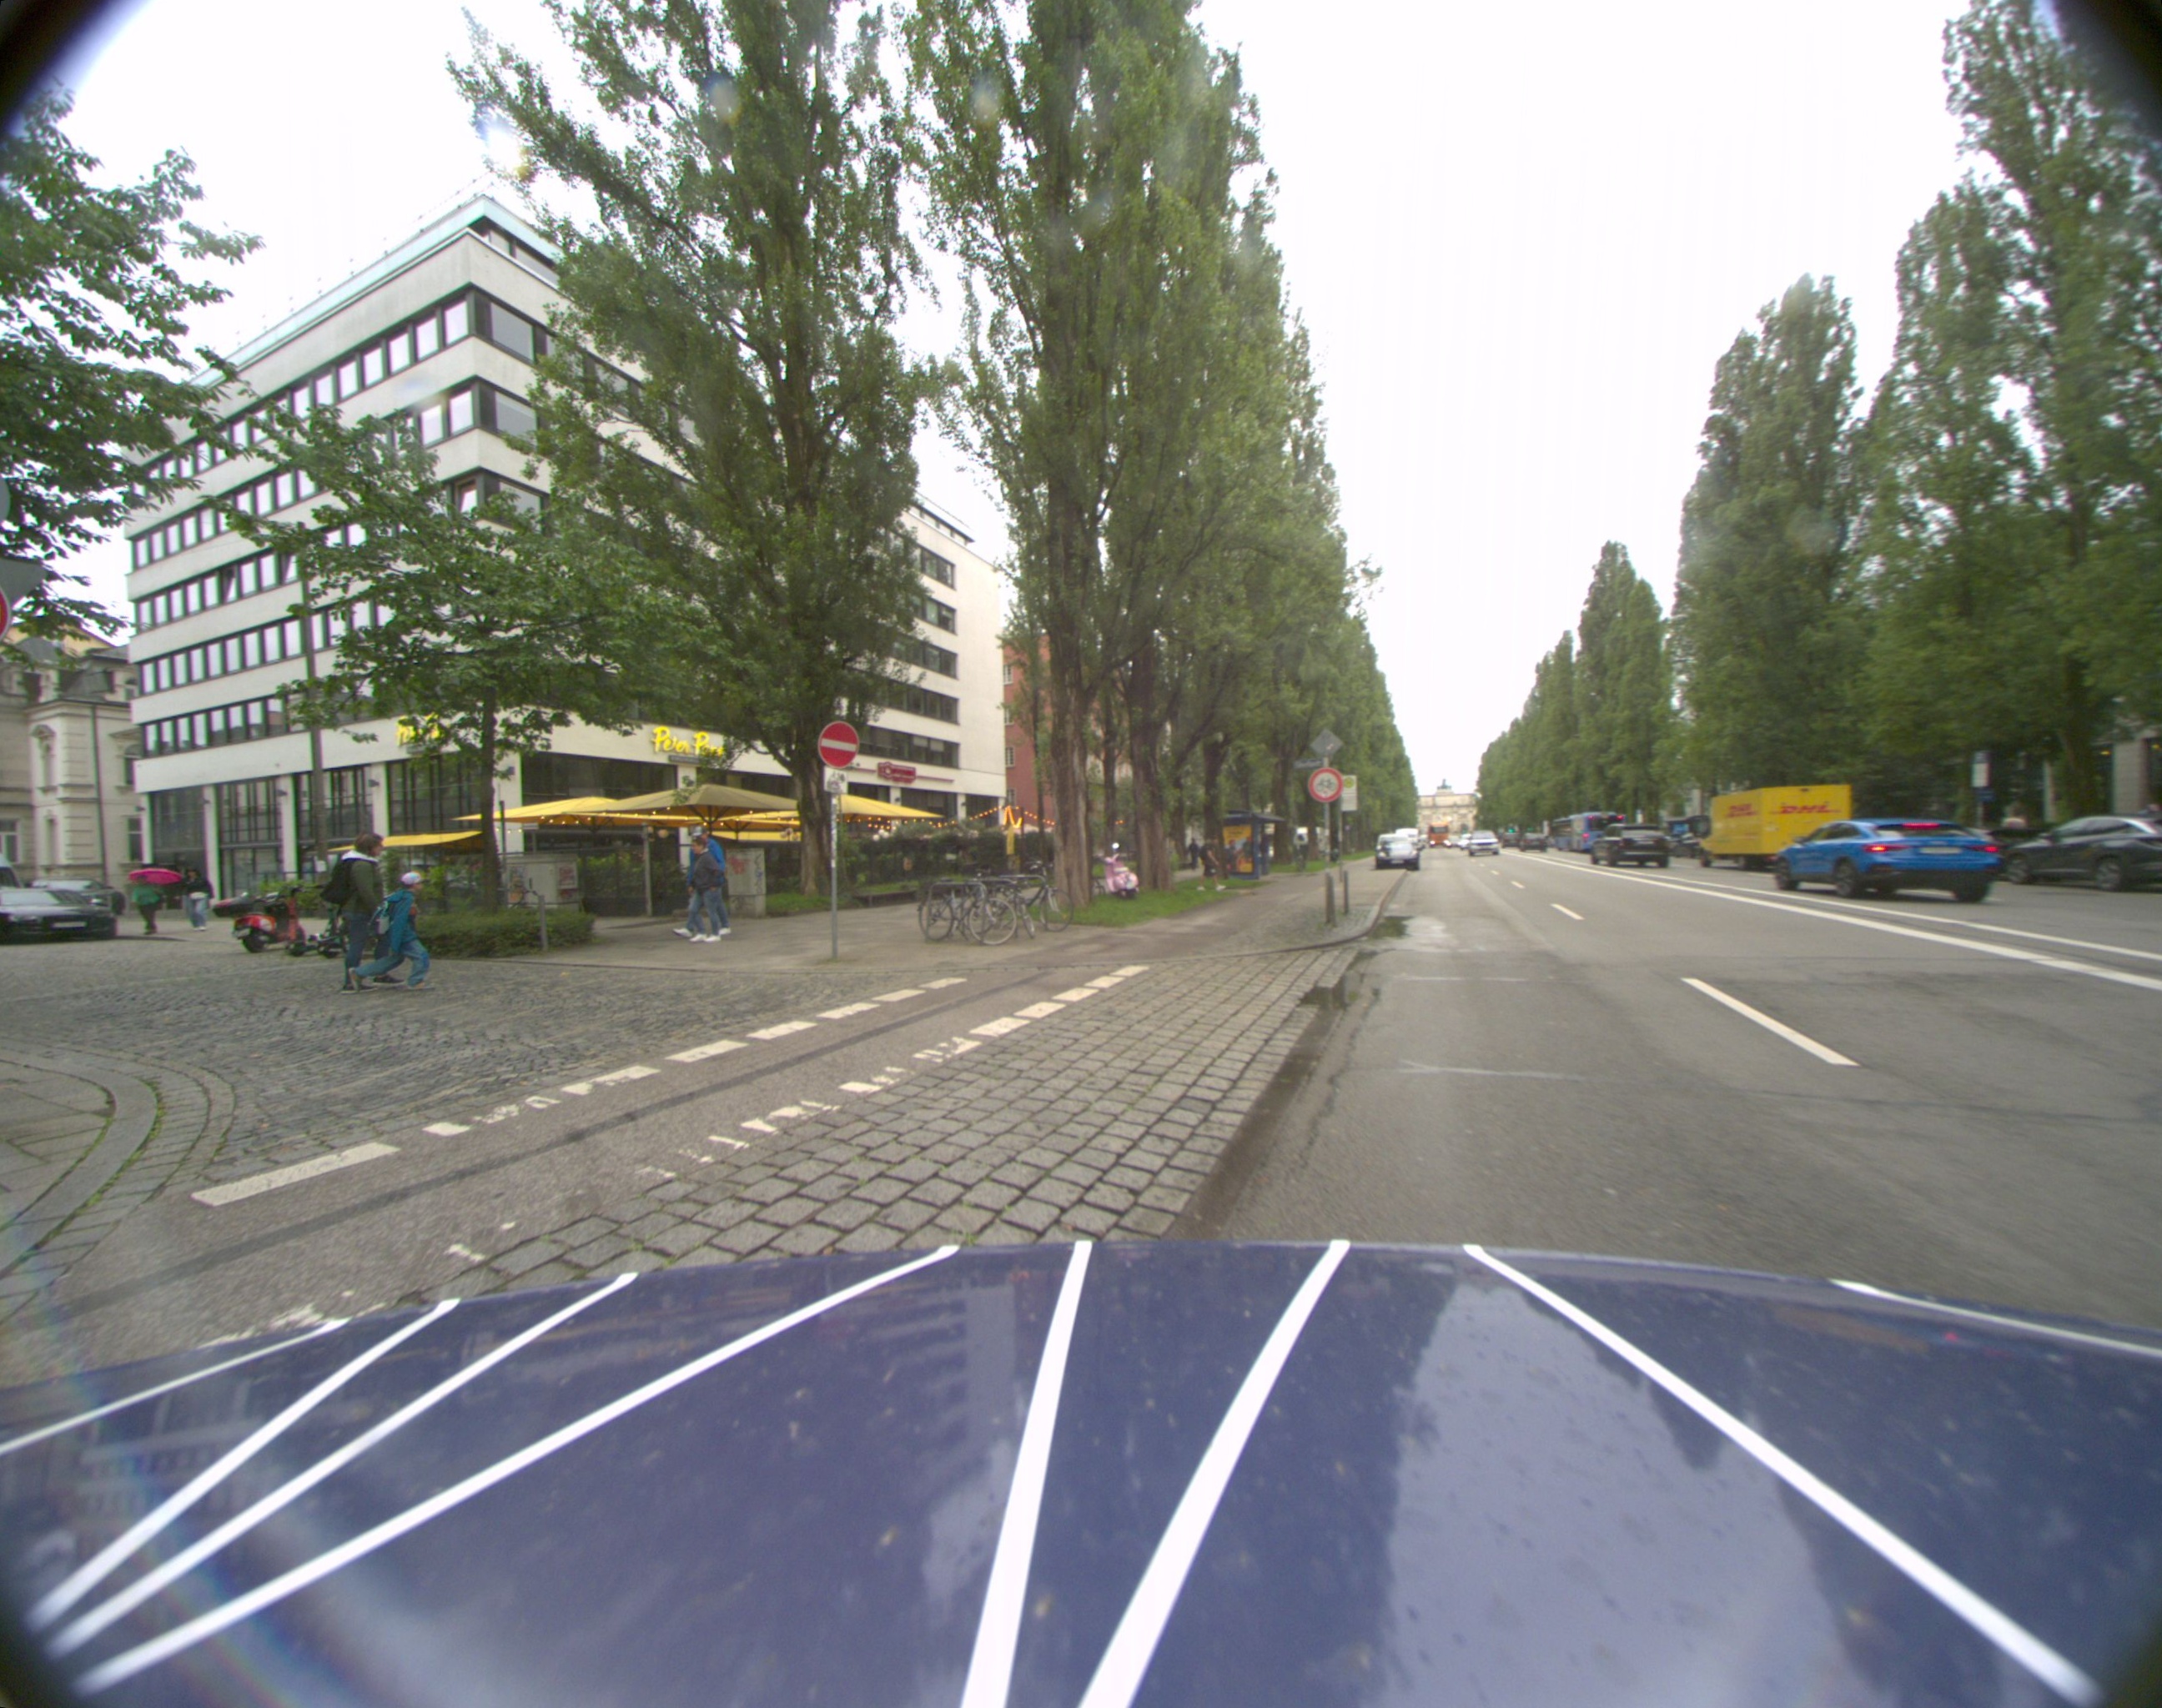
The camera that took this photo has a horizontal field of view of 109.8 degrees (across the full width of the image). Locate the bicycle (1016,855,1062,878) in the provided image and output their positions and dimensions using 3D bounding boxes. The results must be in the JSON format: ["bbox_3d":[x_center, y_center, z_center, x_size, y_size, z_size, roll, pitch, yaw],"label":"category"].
[{"bbox_3d":[-1.781,0.515,31.958,1.798,0.907,0.621,-1,1,22],"label":"bicycle"}]

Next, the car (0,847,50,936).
[{"bbox_3d":[-32.920,1.109,22.088,5.835,2.476,2.069,-1,0,22],"label":"car"}]

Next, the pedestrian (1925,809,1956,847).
[{"bbox_3d":[38.943,-1.166,34.425,0.707,1.704,0.733,-1,2,25],"label":"pedestrian"}]

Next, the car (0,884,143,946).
[{"bbox_3d":[-26.362,1.501,19.388,4.106,1.322,2.003,-1,1,24],"label":"car"}]

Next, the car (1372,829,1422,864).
[{"bbox_3d":[15.328,-0.388,36.717,2.007,1.572,4.006,-1,1,25],"label":"car"}]

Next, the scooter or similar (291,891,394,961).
[{"bbox_3d":[-13.370,1.277,13.792,0.327,1.137,1.253,-1,1,25],"label":"scooter or similar"}]

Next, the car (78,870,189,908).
[{"bbox_3d":[-42.589,1.572,34.153,4.160,1.524,1.916,-1,1,22],"label":"car"}]

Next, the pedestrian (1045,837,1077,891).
[{"bbox_3d":[-0.629,0.306,24.108,0.734,1.683,0.648,-1,2,28],"label":"pedestrian"}]

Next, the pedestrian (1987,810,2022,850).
[{"bbox_3d":[40.151,-1.048,33.046,0.707,1.704,0.733,-1,2,25],"label":"pedestrian"}]

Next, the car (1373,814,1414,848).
[{"bbox_3d":[17.840,-1.245,43.319,2.008,1.747,4.007,-2,-1,23],"label":"car"}]

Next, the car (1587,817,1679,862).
[{"bbox_3d":[23.077,-0.638,32.002,1.995,1.739,5.071,1,2,23],"label":"car"}]

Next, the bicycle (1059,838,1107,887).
[{"bbox_3d":[0.064,0.193,19.515,0.582,1.182,1.618,-1,1,24],"label":"bicycle"}]

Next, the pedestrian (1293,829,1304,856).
[{"bbox_3d":[13.909,-0.754,48.575,0.516,1.683,0.487,-1,2,28],"label":"pedestrian"}]

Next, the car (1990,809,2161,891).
[{"bbox_3d":[22.351,-0.140,16.445,1.789,1.591,4.243,-1,1,25],"label":"car"}]

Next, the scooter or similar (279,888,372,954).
[{"bbox_3d":[-14.593,1.285,14.692,1.251,1.173,0.390,-2,2,-8],"label":"scooter or similar"}]

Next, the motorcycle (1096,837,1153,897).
[{"bbox_3d":[0.990,0.261,17.947,0.630,1.190,1.986,-2,6,-19],"label":"motorcycle"}]

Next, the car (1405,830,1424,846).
[{"bbox_3d":[39.909,-1.946,91.042,2.008,1.747,4.005,-1,1,23],"label":"car"}]

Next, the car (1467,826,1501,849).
[{"bbox_3d":[30.181,-1.275,56.989,2.008,1.571,4.006,-3,1,25],"label":"car"}]

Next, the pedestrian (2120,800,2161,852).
[{"bbox_3d":[35.299,-0.926,25.216,0.707,1.704,0.733,-1,2,25],"label":"pedestrian"}]

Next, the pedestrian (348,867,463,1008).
[{"bbox_3d":[-7.385,0.866,8.306,0.816,1.411,0.772,-1,2,40],"label":"pedestrian"}]

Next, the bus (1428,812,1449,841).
[{"bbox_3d":[54.043,-4.056,115.029,2.643,4.088,9.811,-1,1,24],"label":"bus"}]

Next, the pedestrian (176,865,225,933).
[{"bbox_3d":[-22.994,1.163,19.853,0.649,1.738,0.576,-1,2,20],"label":"pedestrian"}]

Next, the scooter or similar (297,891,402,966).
[{"bbox_3d":[-12.719,1.264,13.265,0.369,1.137,1.430,-2,1,1],"label":"scooter or similar"}]

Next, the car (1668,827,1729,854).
[{"bbox_3d":[34.897,-0.772,43.030,1.789,1.404,3.887,-1,1,25],"label":"car"}]

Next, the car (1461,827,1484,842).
[{"bbox_3d":[41.231,-2.060,80.134,2.007,1.572,4.006,-1,1,25],"label":"car"}]

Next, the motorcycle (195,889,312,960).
[{"bbox_3d":[-15.895,1.308,14.667,0.772,1.189,1.987,-1,0,-24],"label":"motorcycle"}]

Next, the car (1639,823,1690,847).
[{"bbox_3d":[37.736,-1.231,49.222,1.789,1.404,3.887,-1,1,25],"label":"car"}]

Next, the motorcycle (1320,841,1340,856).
[{"bbox_3d":[15.761,-0.342,48.113,0.467,0.933,1.661,-2,1,-8],"label":"motorcycle"}]

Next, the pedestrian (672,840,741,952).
[{"bbox_3d":[-5.944,0.648,12.080,0.703,1.718,0.645,-2,1,1],"label":"pedestrian"}]

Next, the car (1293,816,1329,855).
[{"bbox_3d":[18.967,-1.483,62.413,2.195,3.000,6.008,-1,1,23],"label":"car"}]

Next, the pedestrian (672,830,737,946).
[{"bbox_3d":[-6.347,0.559,12.843,0.703,1.897,0.645,-2,1,1],"label":"pedestrian"}]

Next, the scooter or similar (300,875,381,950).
[{"bbox_3d":[-14.024,1.080,14.421,0.327,1.266,1.250,-2,2,-6],"label":"scooter or similar"}]

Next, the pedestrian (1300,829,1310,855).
[{"bbox_3d":[14.274,-0.762,48.405,0.516,1.683,0.487,-1,2,28],"label":"pedestrian"}]

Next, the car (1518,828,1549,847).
[{"bbox_3d":[36.650,-1.348,61.594,1.844,1.518,3.758,0,2,26],"label":"car"}]

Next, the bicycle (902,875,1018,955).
[{"bbox_3d":[-1.777,0.865,11.106,1.698,1.087,0.492,-1,2,29],"label":"bicycle"}]

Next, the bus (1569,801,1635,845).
[{"bbox_3d":[39.412,-2.273,57.749,2.920,3.034,8.531,-1,1,26],"label":"bus"}]

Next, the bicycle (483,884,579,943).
[{"bbox_3d":[-10.151,1.078,14.018,1.759,1.016,0.554,-1,2,22],"label":"bicycle"}]

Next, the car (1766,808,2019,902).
[{"bbox_3d":[15.778,-0.046,15.155,1.867,1.570,4.429,0,2,24],"label":"car"}]

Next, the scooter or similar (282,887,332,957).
[{"bbox_3d":[-14.952,1.289,14.706,0.328,1.265,1.354,-2,0,-32],"label":"scooter or similar"}]

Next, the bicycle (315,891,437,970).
[{"bbox_3d":[-12.005,1.261,13.019,0.554,1.136,1.761,-2,1,-7],"label":"bicycle"}]

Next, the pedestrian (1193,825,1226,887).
[{"bbox_3d":[3.758,0.056,22.213,0.750,1.763,0.707,0,2,29],"label":"pedestrian"}]

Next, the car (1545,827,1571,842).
[{"bbox_3d":[55.937,-2.329,89.244,1.995,1.712,4.822,0,2,25],"label":"car"}]

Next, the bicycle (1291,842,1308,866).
[{"bbox_3d":[9.871,-0.024,34.339,0.552,1.016,1.765,-1,1,21],"label":"bicycle"}]

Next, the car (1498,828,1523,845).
[{"bbox_3d":[45.660,-1.900,80.876,1.995,1.712,4.822,0,2,25],"label":"car"}]

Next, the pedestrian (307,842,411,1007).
[{"bbox_3d":[-7.877,0.726,8.296,0.662,1.691,0.692,-1,2,40],"label":"pedestrian"}]

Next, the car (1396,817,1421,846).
[{"bbox_3d":[31.577,-2.137,73.188,2.007,2.617,6.009,-1,1,24],"label":"car"}]

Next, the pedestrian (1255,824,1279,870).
[{"bbox_3d":[7.662,-0.294,31.282,0.889,1.833,0.769,-1,2,17],"label":"pedestrian"}]

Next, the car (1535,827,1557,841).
[{"bbox_3d":[60.665,-2.603,99.180,1.995,1.712,4.822,0,2,25],"label":"car"}]

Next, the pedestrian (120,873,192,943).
[{"bbox_3d":[-23.921,1.371,19.673,0.931,1.696,0.798,-3,2,-34],"label":"pedestrian"}]

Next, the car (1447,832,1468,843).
[{"bbox_3d":[46.650,-2.042,94.241,1.645,1.389,4.004,-1,1,16],"label":"car"}]

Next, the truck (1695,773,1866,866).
[{"bbox_3d":[25.014,-1.185,27.632,2.595,2.891,7.091,-1,1,25],"label":"truck"}]

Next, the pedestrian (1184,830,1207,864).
[{"bbox_3d":[5.804,-0.376,38.582,0.888,1.683,0.769,-1,2,28],"label":"pedestrian"}]

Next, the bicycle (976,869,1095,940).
[{"bbox_3d":[-0.780,0.815,12.589,1.978,1.087,0.492,-1,2,29],"label":"bicycle"}]

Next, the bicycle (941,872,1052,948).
[{"bbox_3d":[-1.324,0.842,11.765,1.698,1.087,0.492,-1,2,29],"label":"bicycle"}]

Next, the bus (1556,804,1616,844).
[{"bbox_3d":[42.705,-2.456,64.510,2.920,3.034,9.812,-1,1,26],"label":"bus"}]

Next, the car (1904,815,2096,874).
[{"bbox_3d":[24.483,-0.269,20.464,1.789,1.404,3.887,-1,1,25],"label":"car"}]

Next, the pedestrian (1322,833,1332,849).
[{"bbox_3d":[26.771,-1.431,82.799,0.888,1.683,0.769,-1,2,28],"label":"pedestrian"}]
